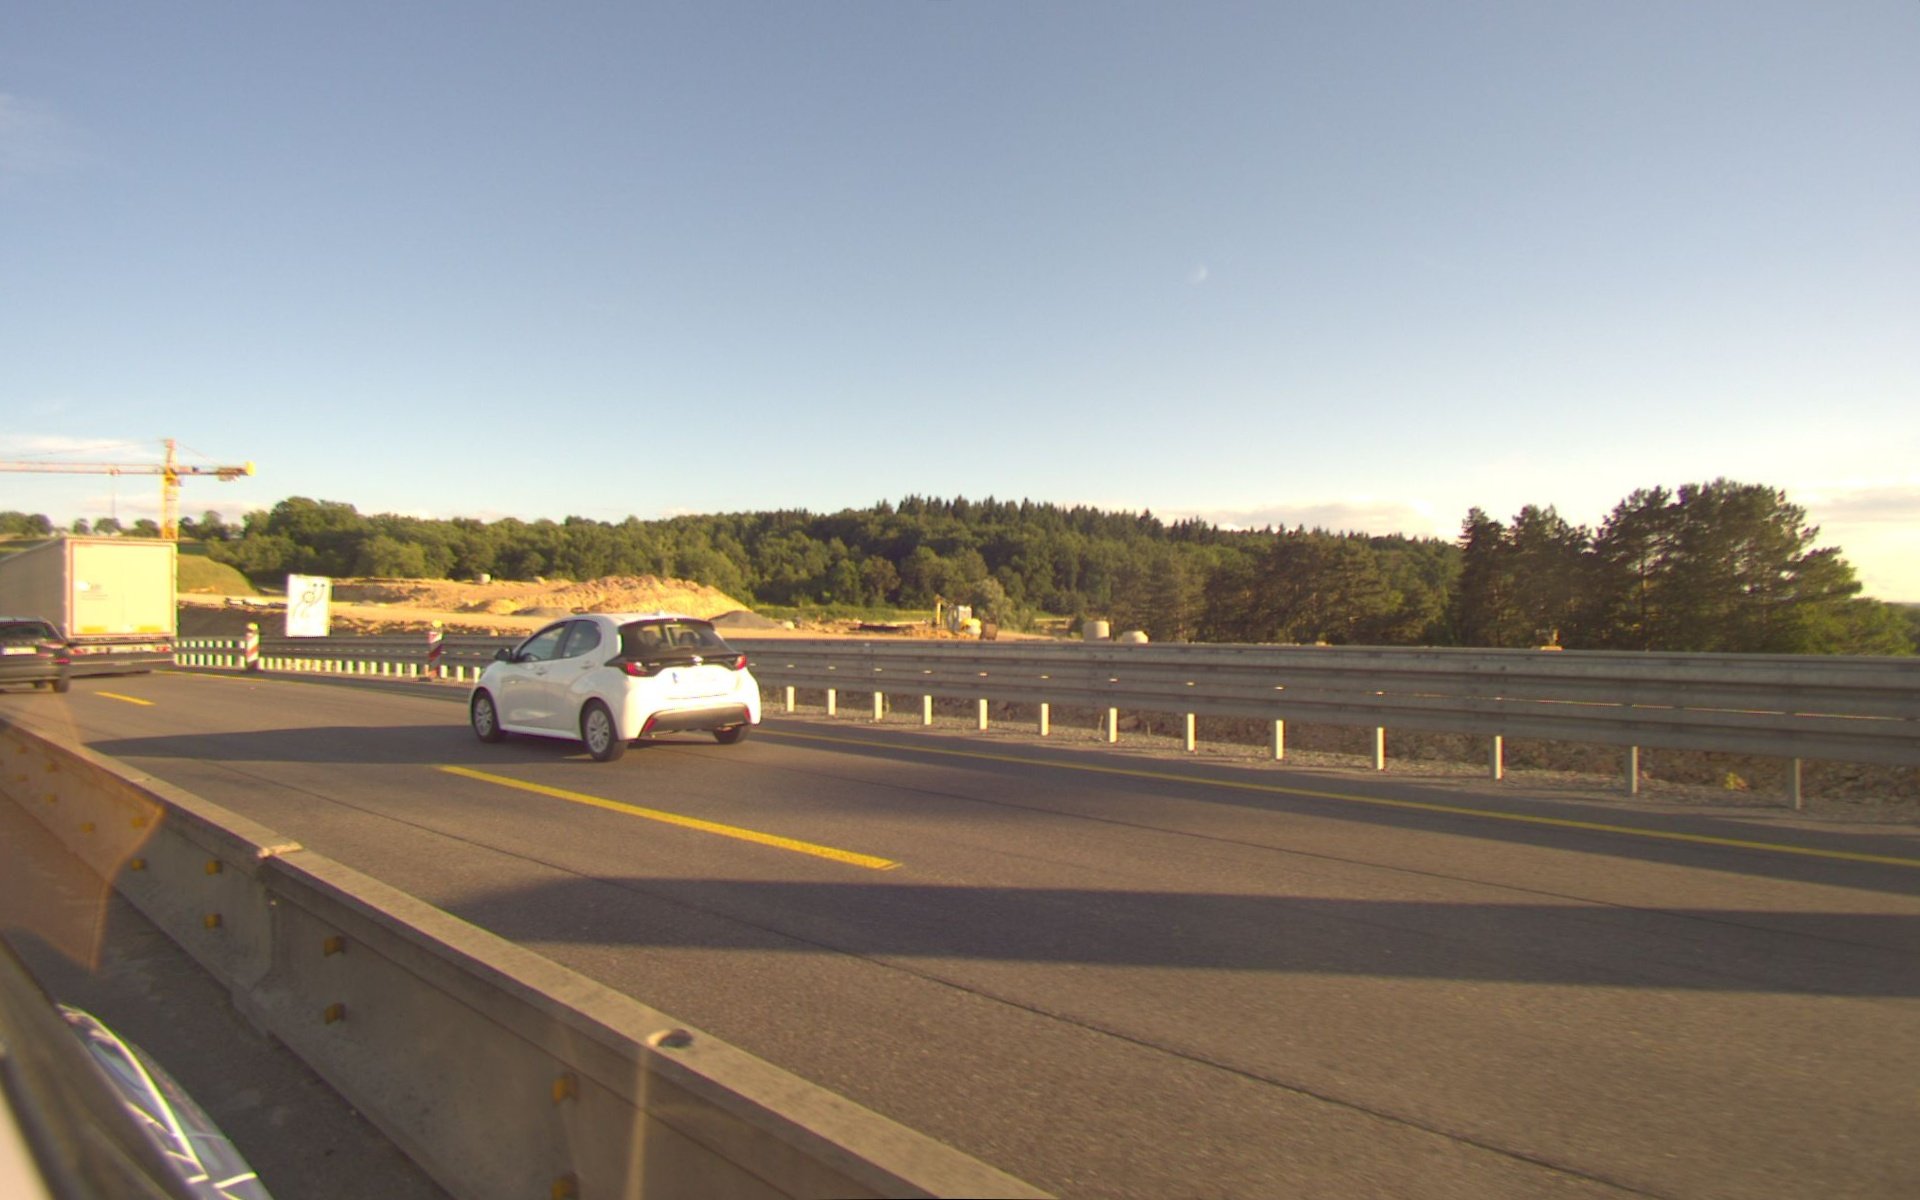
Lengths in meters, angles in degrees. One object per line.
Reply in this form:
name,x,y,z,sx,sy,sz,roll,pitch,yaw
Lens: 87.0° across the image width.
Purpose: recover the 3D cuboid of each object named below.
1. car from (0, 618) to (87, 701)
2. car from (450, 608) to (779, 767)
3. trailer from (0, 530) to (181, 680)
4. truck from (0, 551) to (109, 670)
car,-21.032,1.267,22.334,4.508,1.657,1.973,-1,0,40
car,-3.957,0.862,11.283,3.997,1.457,1.683,-2,-2,40
trailer,-29.039,0.292,33.254,14.014,4.081,2.785,-2,-2,41
truck,-34.012,0.433,37.636,5.669,4.079,2.785,-2,-2,41
